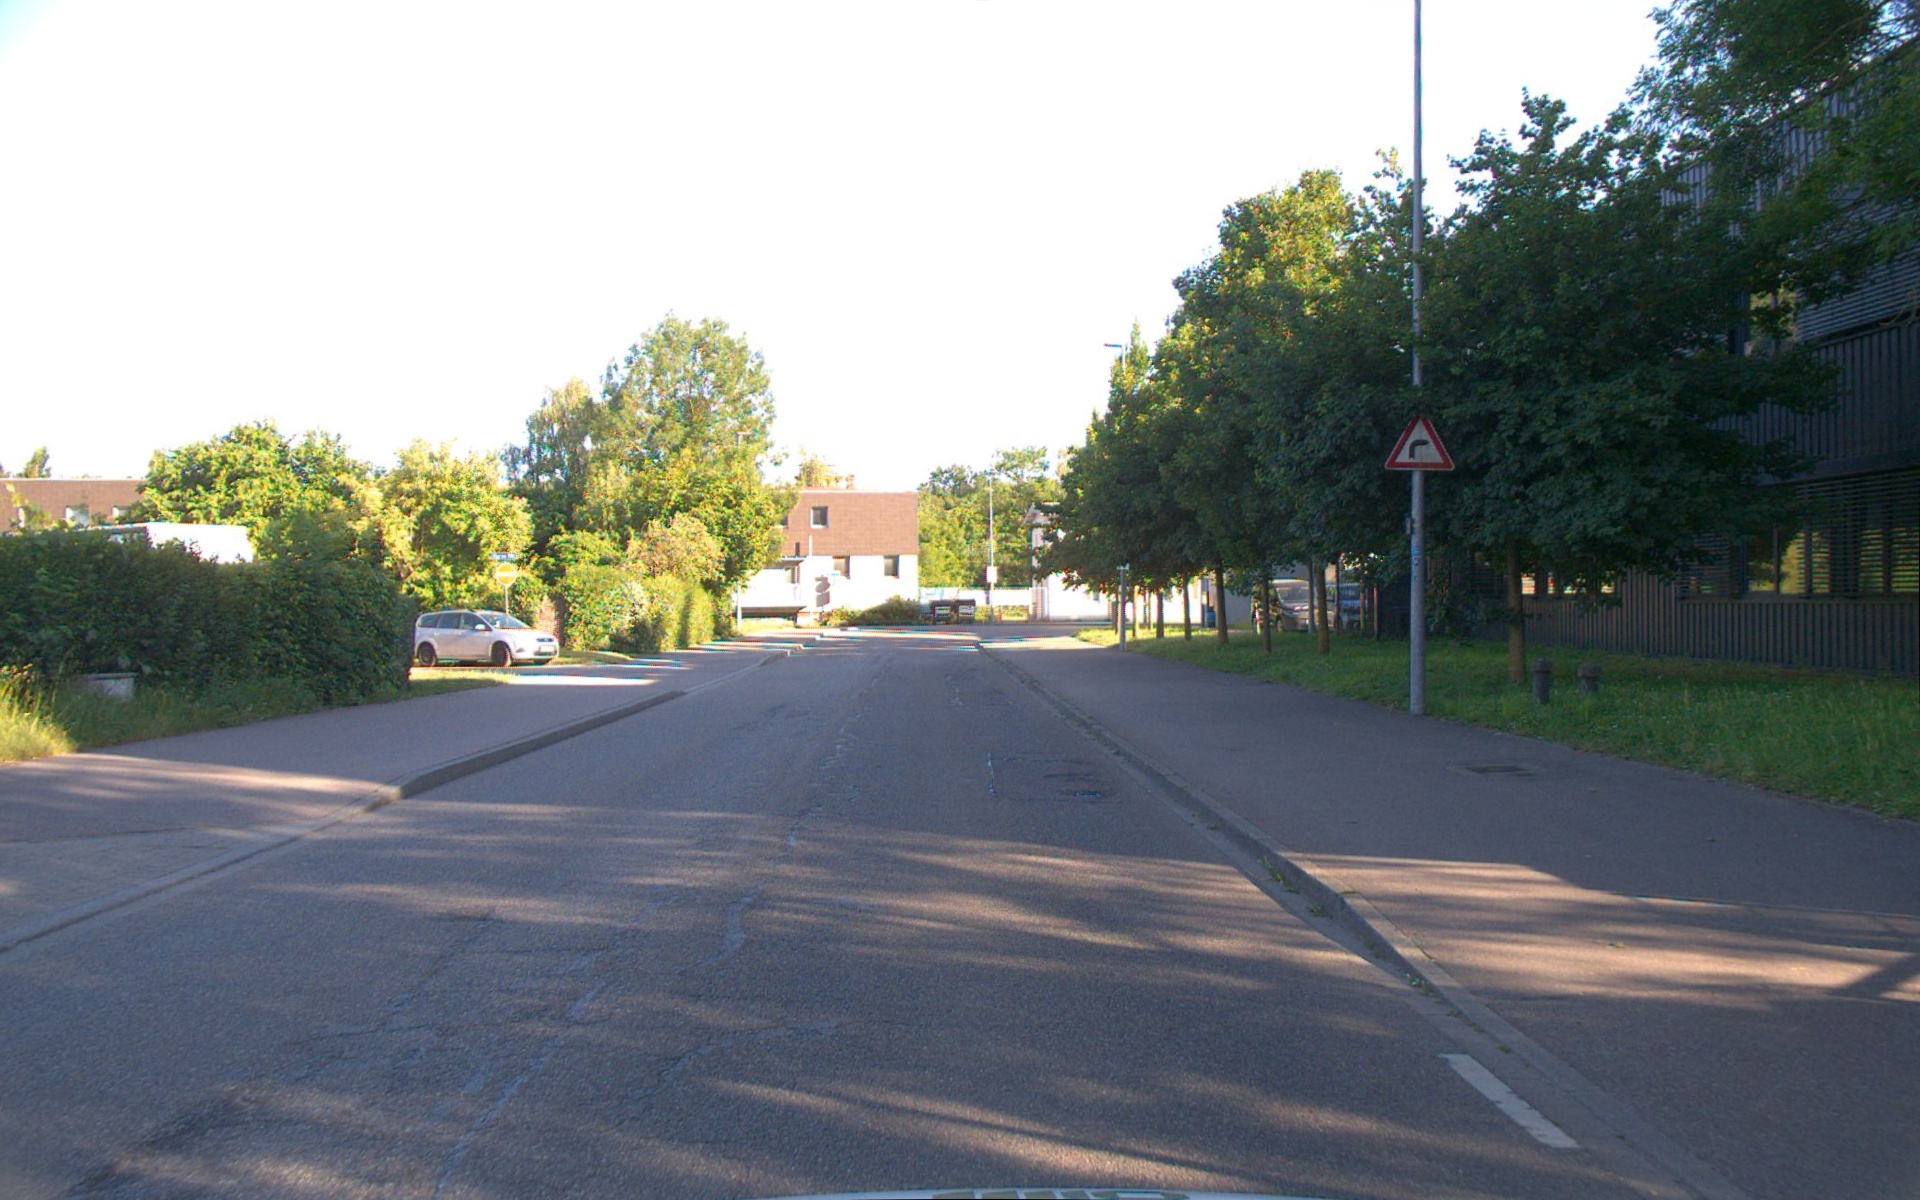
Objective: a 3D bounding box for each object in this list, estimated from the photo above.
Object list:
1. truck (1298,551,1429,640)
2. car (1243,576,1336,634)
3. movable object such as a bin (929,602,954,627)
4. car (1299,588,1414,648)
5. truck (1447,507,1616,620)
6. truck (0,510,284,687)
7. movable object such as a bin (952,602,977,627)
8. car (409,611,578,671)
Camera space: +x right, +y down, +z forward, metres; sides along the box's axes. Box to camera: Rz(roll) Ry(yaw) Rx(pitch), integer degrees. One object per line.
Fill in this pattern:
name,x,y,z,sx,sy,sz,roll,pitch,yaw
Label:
truck,13.947,-0.127,57.679,2.313,2.887,6.741,1,0,-6
car,11.128,0.211,56.199,1.800,1.846,4.659,1,-1,-6
movable object such as a bin,-1.080,0.837,96.051,1.339,1.443,1.063,1,-1,-8
car,10.427,0.501,43.803,1.799,1.492,4.275,1,-1,-4
truck,15.285,-0.878,44.679,2.235,2.724,6.398,1,-1,-1
truck,-20.772,0.088,40.342,9.125,3.952,2.707,-1,-2,28
movable object such as a bin,0.265,0.868,96.429,1.339,1.443,1.063,1,-1,-8
car,-12.466,1.082,44.231,4.127,1.516,1.875,0,-1,25
